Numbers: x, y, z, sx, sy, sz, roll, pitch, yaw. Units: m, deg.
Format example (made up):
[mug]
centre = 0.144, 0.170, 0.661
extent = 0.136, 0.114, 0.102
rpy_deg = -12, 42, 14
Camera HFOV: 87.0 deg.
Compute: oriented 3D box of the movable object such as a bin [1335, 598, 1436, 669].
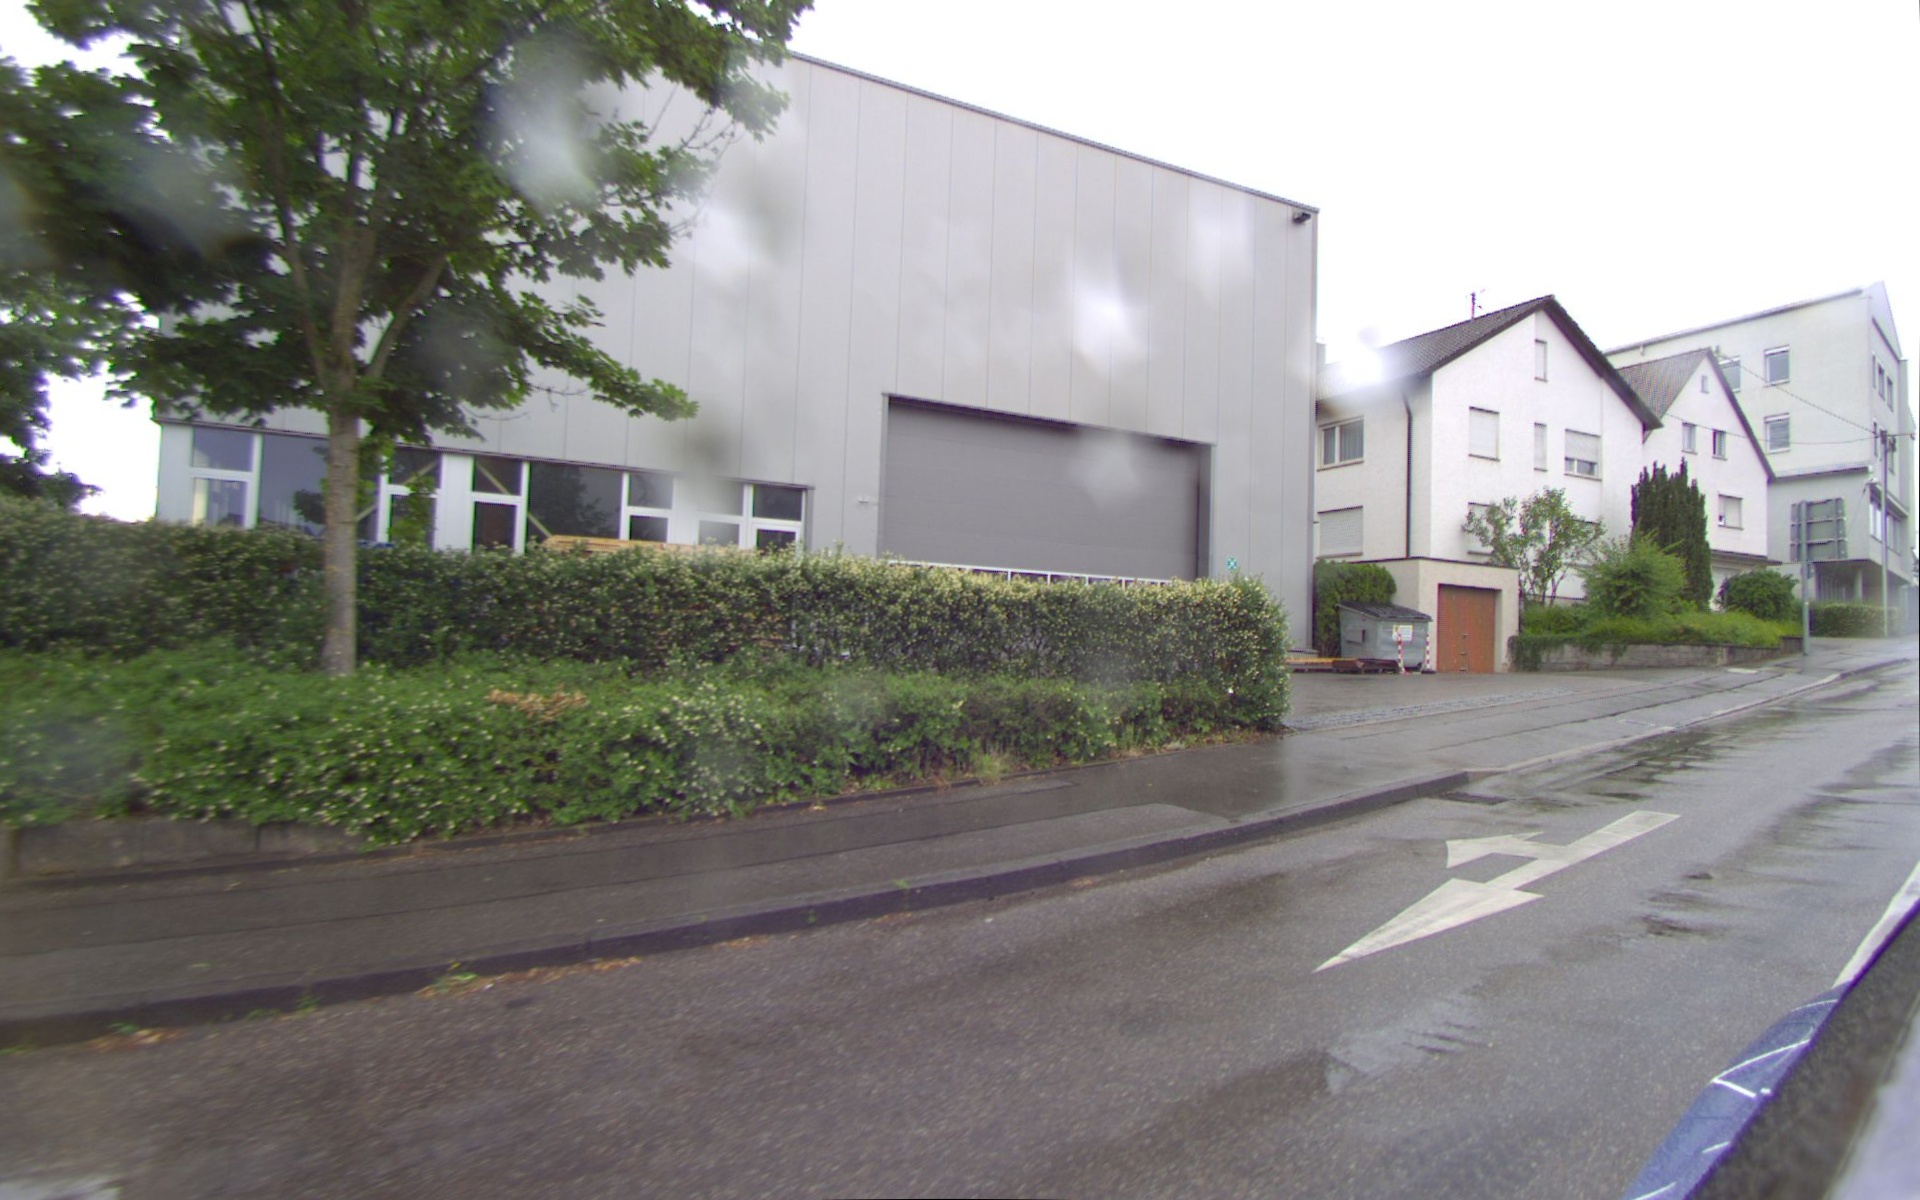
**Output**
[movable object such as a bin]
centre = 9.834, 0.763, 23.424
extent = 1.556, 1.555, 1.451
rpy_deg = 2, -1, -25
